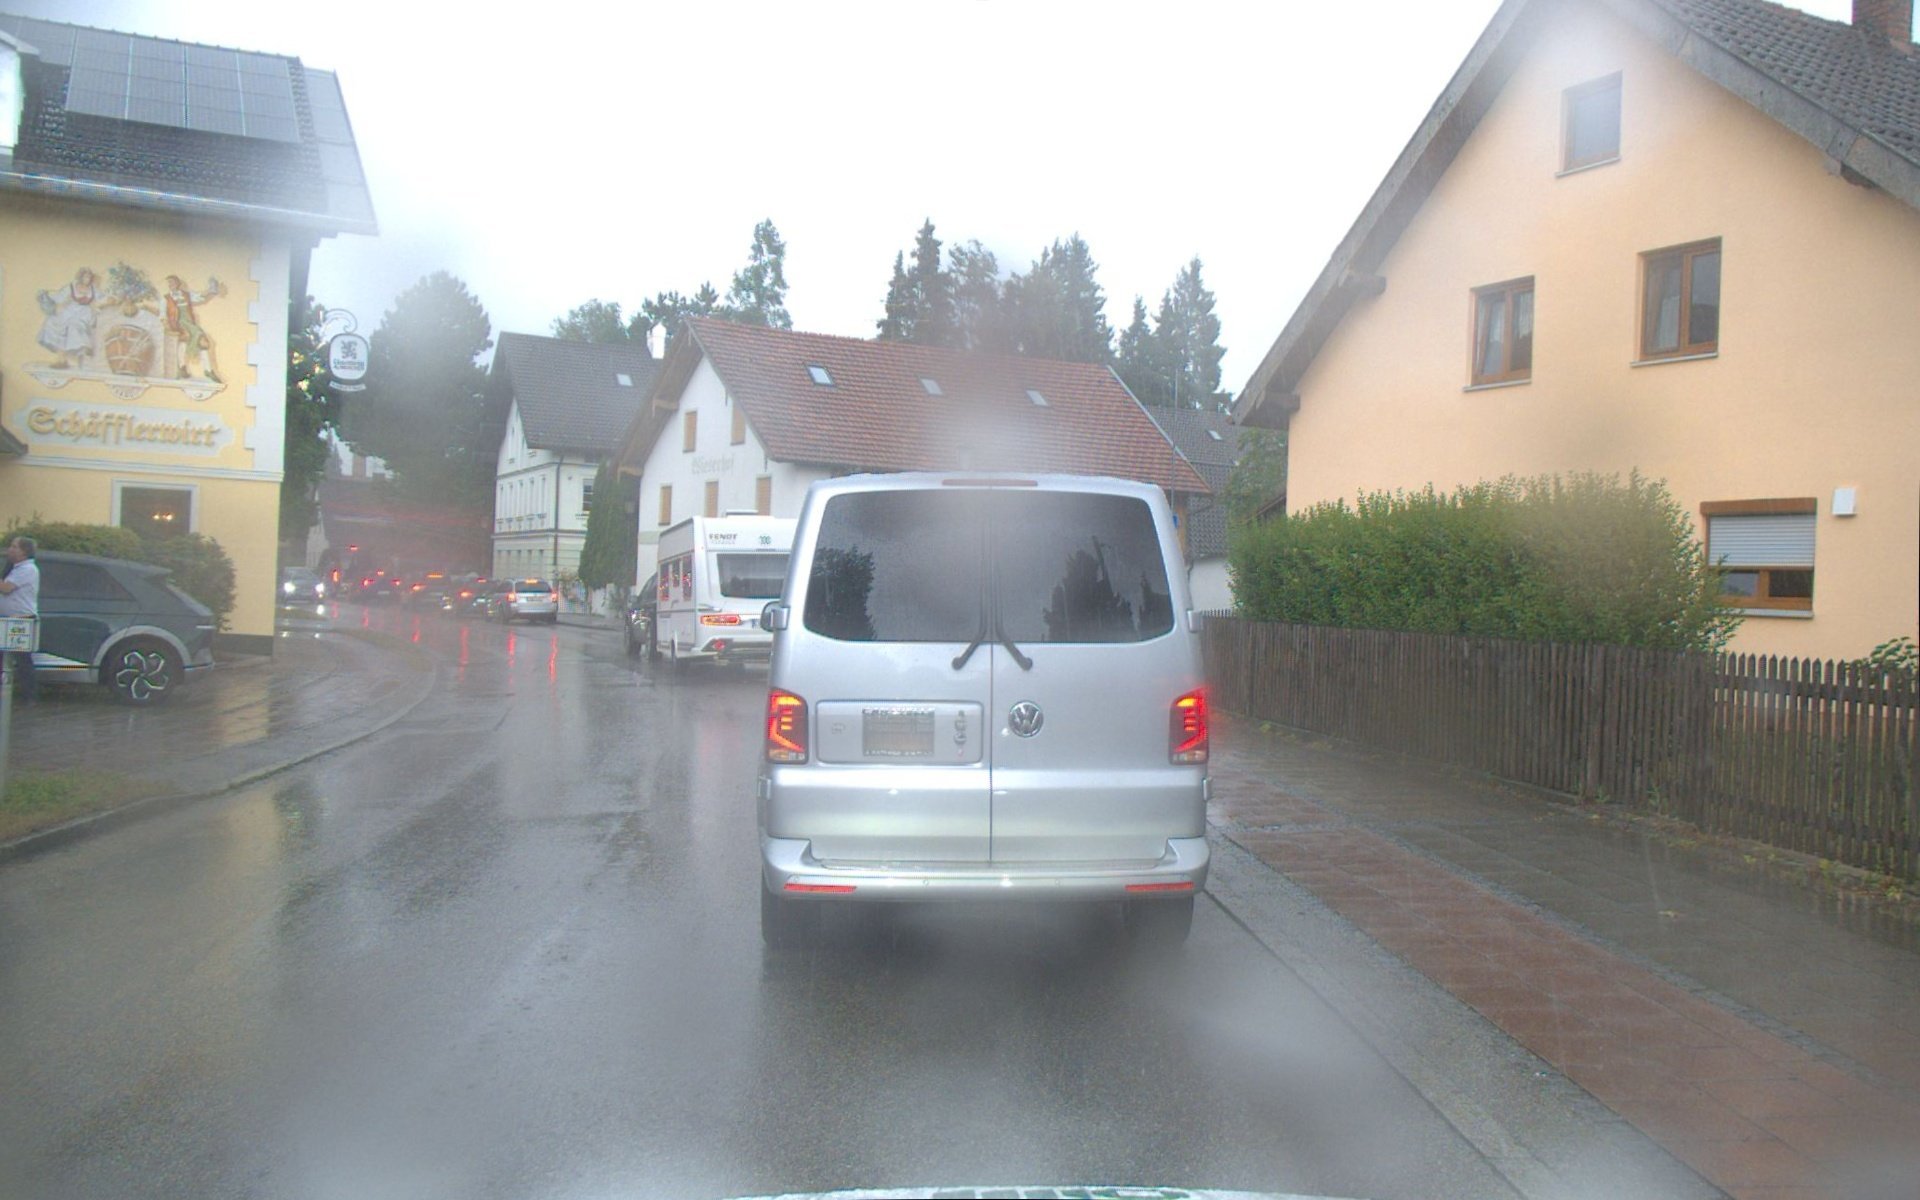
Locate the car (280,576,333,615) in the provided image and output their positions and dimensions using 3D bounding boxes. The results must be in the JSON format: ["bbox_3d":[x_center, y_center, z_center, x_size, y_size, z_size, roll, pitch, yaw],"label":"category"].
[{"bbox_3d":[-30.494,-0.218,77.083,1.900,1.775,4.154,0,1,-28],"label":"car"}]

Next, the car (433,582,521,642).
[{"bbox_3d":[-17.627,0.399,60.226,2.143,1.932,4.971,2,1,-27],"label":"car"}]

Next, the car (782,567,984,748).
[{"bbox_3d":[-0.944,0.470,17.412,1.676,1.611,4.677,-1,1,-8],"label":"car"}]

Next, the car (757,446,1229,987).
[{"bbox_3d":[0.104,0.424,8.658,1.740,1.997,5.073,0,0,-1],"label":"car"}]

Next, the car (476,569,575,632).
[{"bbox_3d":[-14.418,0.008,54.681,2.143,1.932,4.970,2,-1,-27],"label":"car"}]

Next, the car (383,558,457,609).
[{"bbox_3d":[-22.425,-0.703,68.599,2.143,1.932,4.971,2,1,-27],"label":"car"}]

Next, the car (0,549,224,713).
[{"bbox_3d":[-10.693,0.257,18.309,4.427,1.594,1.822,5,1,-30],"label":"car"}]

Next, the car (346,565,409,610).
[{"bbox_3d":[-27.761,-0.607,78.759,2.143,1.932,4.971,2,1,-27],"label":"car"}]

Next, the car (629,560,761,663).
[{"bbox_3d":[-5.484,0.206,33.667,2.021,1.932,5.152,1,0,-16],"label":"car"}]

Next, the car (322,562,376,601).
[{"bbox_3d":[-32.913,-1.023,88.990,2.143,1.932,4.971,2,1,-27],"label":"car"}]

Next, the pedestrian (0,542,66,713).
[{"bbox_3d":[-9.651,0.279,17.118,0.547,1.719,0.487,5,-1,-32],"label":"pedestrian"}]

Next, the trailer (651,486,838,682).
[{"bbox_3d":[-3.828,-0.250,28.283,2.234,2.955,6.104,1,0,-16],"label":"trailer"}]
